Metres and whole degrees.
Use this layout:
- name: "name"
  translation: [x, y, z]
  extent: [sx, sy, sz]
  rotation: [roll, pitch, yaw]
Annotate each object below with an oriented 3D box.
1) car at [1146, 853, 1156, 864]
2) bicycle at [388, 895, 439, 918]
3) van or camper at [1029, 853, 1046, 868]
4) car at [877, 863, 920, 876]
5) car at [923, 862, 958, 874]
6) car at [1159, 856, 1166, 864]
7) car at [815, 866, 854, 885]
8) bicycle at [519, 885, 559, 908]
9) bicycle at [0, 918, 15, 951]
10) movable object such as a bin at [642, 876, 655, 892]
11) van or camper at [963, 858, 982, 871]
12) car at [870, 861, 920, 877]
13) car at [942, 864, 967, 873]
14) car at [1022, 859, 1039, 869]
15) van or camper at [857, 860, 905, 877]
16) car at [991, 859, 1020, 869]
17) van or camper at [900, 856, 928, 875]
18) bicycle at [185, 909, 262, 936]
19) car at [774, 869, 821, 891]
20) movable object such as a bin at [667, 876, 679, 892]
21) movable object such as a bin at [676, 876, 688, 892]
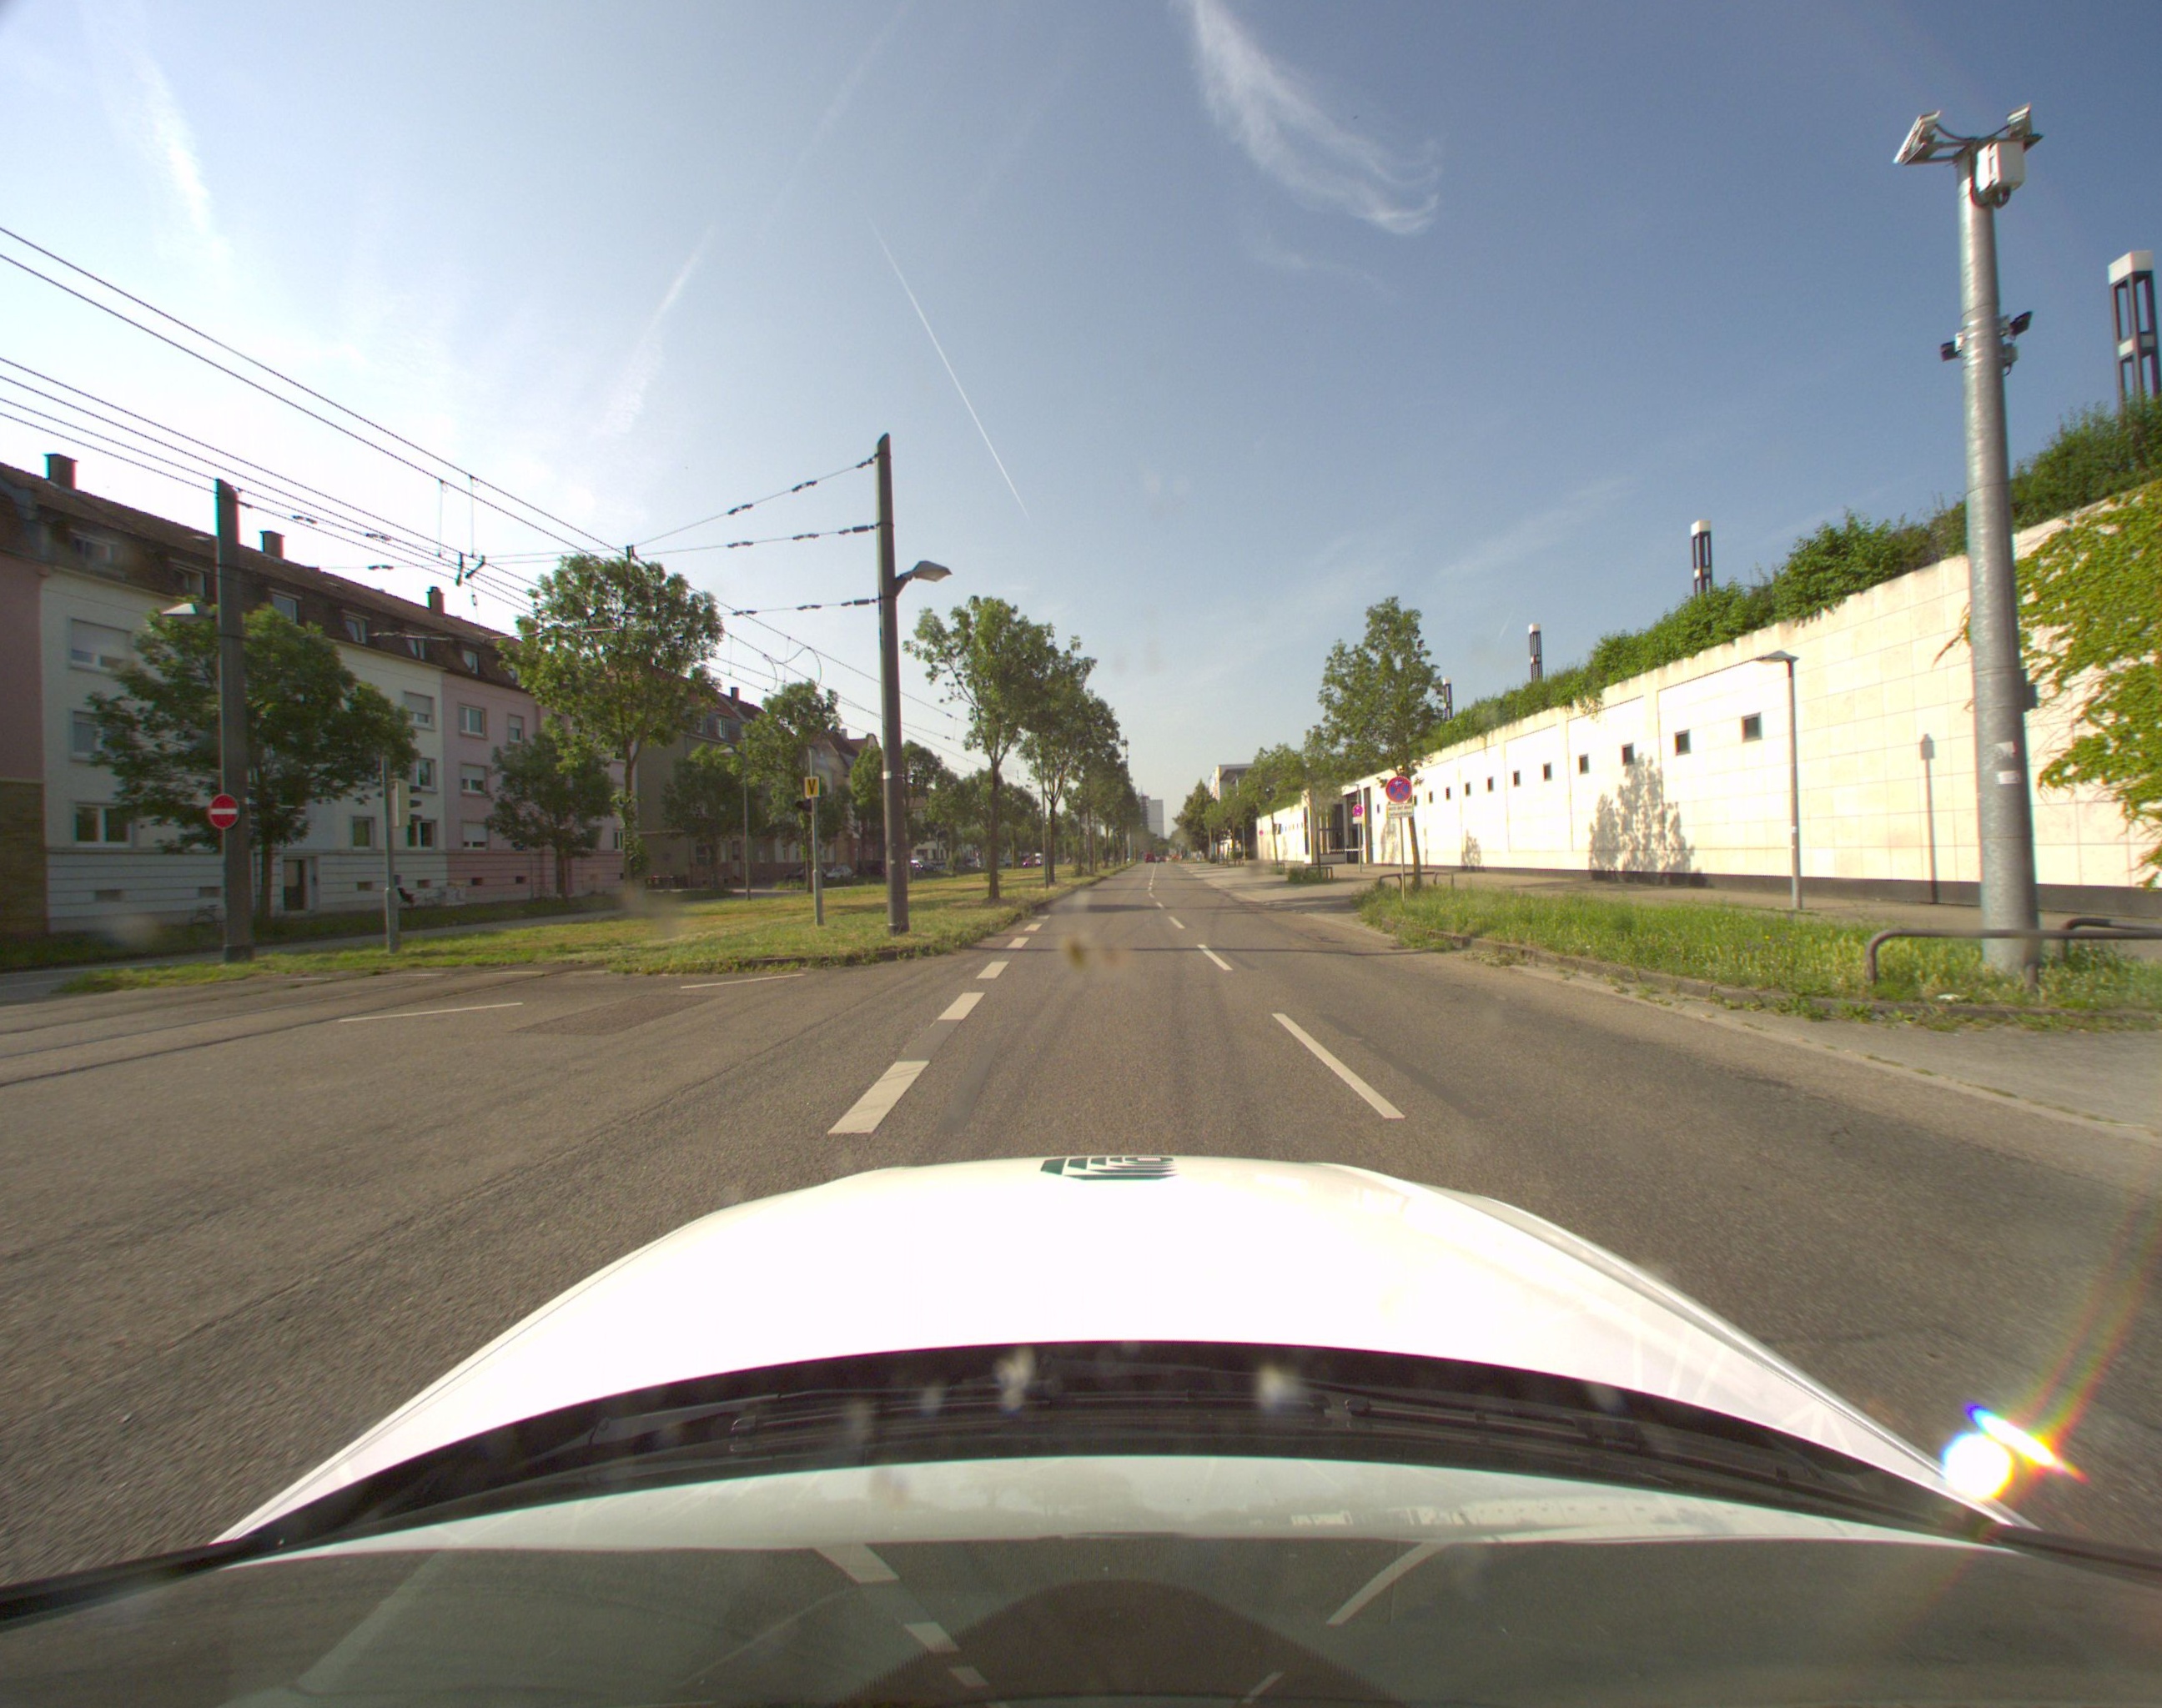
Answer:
- name: "car"
  translation: [13.249, 0.924, 154.450]
  extent: [1.739, 2.014, 3.221]
  rotation: [0, -1, 6]
- name: "bicycle"
  translation: [-28.514, 2.240, 34.837]
  extent: [0.445, 0.857, 1.949]
  rotation: [0, -1, 4]
- name: "van or camper"
  translation: [-7.689, 1.162, 145.729]
  extent: [2.193, 2.531, 6.038]
  rotation: [0, -1, 5]
- name: "car"
  translation: [-19.231, 1.613, 85.737]
  extent: [4.419, 1.419, 1.988]
  rotation: [0, -1, 36]
- name: "car"
  translation: [-17.080, 1.659, 99.167]
  extent: [3.951, 1.417, 1.586]
  rotation: [0, -1, 24]
- name: "car"
  translation: [20.897, 1.510, 208.214]
  extent: [1.739, 2.014, 3.221]
  rotation: [0, -1, 6]
- name: "car"
  translation: [-22.138, 1.899, 73.247]
  extent: [1.881, 1.628, 4.162]
  rotation: [0, 0, 5]
- name: "bicycle"
  translation: [-27.834, 2.162, 41.854]
  extent: [0.601, 1.128, 1.949]
  rotation: [0, -1, 4]
- name: "bicycle"
  translation: [-29.771, 2.198, 21.552]
  extent: [0.465, 0.889, 1.949]
  rotation: [0, -1, 4]
- name: "movable object such as a bin"
  translation: [-33.156, 2.278, 62.421]
  extent: [0.582, 1.211, 0.641]
  rotation: [0, -1, 4]
- name: "van or camper"
  translation: [-19.940, 1.967, 150.306]
  extent: [1.983, 2.328, 5.839]
  rotation: [0, -1, 7]
- name: "car"
  translation: [-18.944, 1.481, 82.817]
  extent: [5.154, 1.623, 2.070]
  rotation: [0, -1, 36]
- name: "car"
  translation: [-16.448, 1.865, 105.858]
  extent: [3.124, 1.161, 1.506]
  rotation: [0, -1, 38]
- name: "car"
  translation: [-8.555, 1.771, 138.814]
  extent: [1.953, 1.694, 4.308]
  rotation: [0, -1, 9]
- name: "van or camper"
  translation: [-19.765, 1.384, 80.421]
  extent: [4.788, 1.623, 2.015]
  rotation: [0, -1, 38]
- name: "car"
  translation: [-13.429, 1.728, 144.699]
  extent: [5.259, 1.738, 2.012]
  rotation: [0, -1, 39]
- name: "van or camper"
  translation: [-23.054, 1.538, 112.680]
  extent: [2.029, 2.567, 6.365]
  rotation: [0, -1, 5]
- name: "bicycle"
  translation: [-29.295, 2.322, 27.868]
  extent: [0.435, 0.789, 1.949]
  rotation: [0, -1, 4]
- name: "car"
  translation: [-23.307, 2.096, 67.140]
  extent: [1.985, 1.628, 4.780]
  rotation: [0, 0, 4]
- name: "movable object such as a bin"
  translation: [-31.224, 2.275, 62.283]
  extent: [0.582, 1.211, 0.641]
  rotation: [0, -1, 4]
- name: "movable object such as a bin"
  translation: [-30.506, 2.275, 62.315]
  extent: [0.582, 1.211, 0.641]
  rotation: [0, -1, 4]
